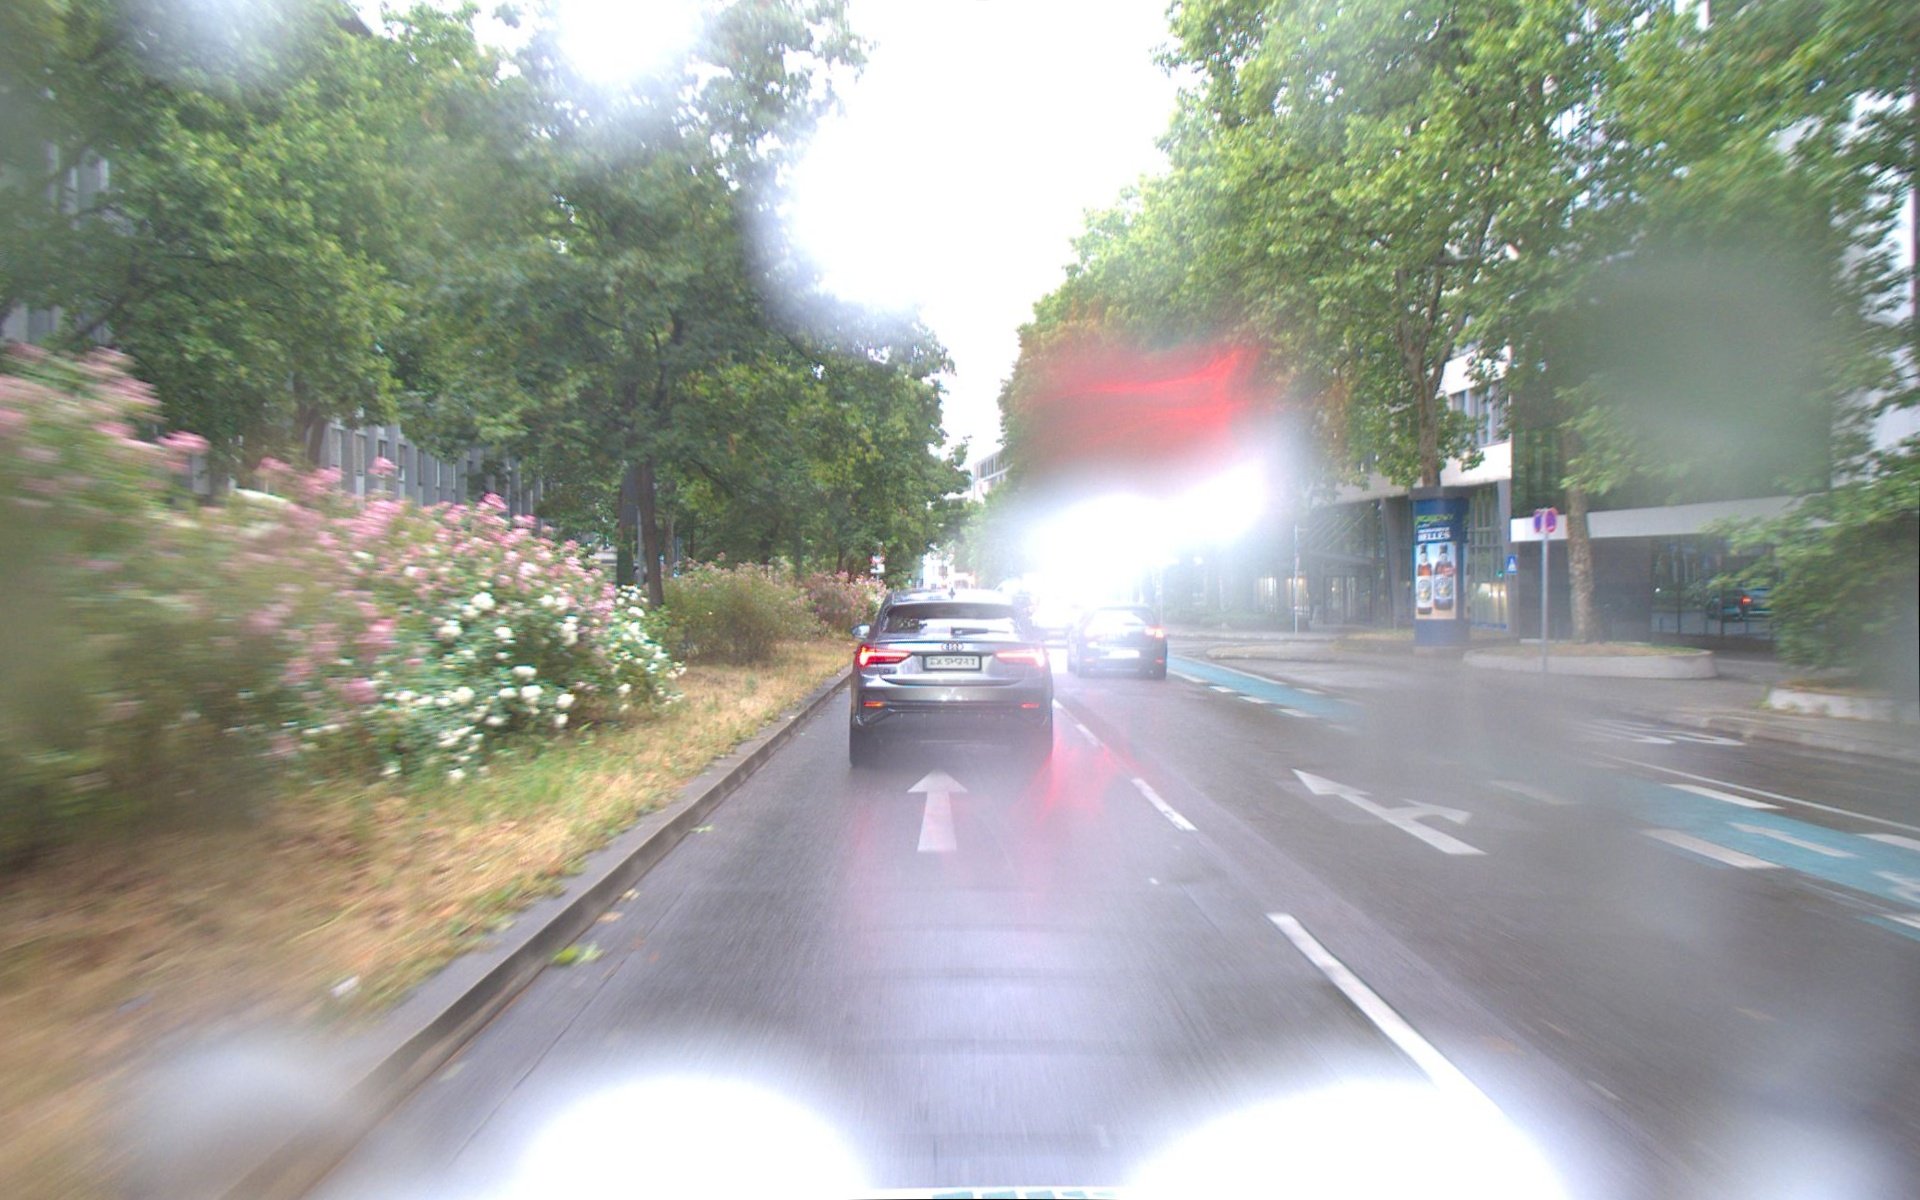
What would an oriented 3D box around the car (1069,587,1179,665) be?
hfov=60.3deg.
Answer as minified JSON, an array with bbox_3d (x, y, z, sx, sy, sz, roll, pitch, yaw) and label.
[{"bbox_3d":[3.205,0.473,33.026,1.729,1.437,3.999,-1,1,-1],"label":"car"}]

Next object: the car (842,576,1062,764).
[{"bbox_3d":[-0.036,0.561,16.007,1.825,1.559,4.527,0,1,1],"label":"car"}]

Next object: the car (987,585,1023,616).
[{"bbox_3d":[2.585,0.013,96.492,1.953,1.780,4.000,0,1,0],"label":"car"}]

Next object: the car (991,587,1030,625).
[{"bbox_3d":[2.425,0.288,80.386,1.785,1.780,4.000,0,1,0],"label":"car"}]

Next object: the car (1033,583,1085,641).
[{"bbox_3d":[3.052,0.343,51.398,1.404,1.714,2.979,-1,0,0],"label":"car"}]

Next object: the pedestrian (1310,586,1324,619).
[{"bbox_3d":[19.904,0.148,92.295,0.637,1.847,0.655,0,0,-1],"label":"pedestrian"}]

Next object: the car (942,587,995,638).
[{"bbox_3d":[0.260,0.389,54.839,1.686,1.605,3.961,0,1,-1],"label":"car"}]
